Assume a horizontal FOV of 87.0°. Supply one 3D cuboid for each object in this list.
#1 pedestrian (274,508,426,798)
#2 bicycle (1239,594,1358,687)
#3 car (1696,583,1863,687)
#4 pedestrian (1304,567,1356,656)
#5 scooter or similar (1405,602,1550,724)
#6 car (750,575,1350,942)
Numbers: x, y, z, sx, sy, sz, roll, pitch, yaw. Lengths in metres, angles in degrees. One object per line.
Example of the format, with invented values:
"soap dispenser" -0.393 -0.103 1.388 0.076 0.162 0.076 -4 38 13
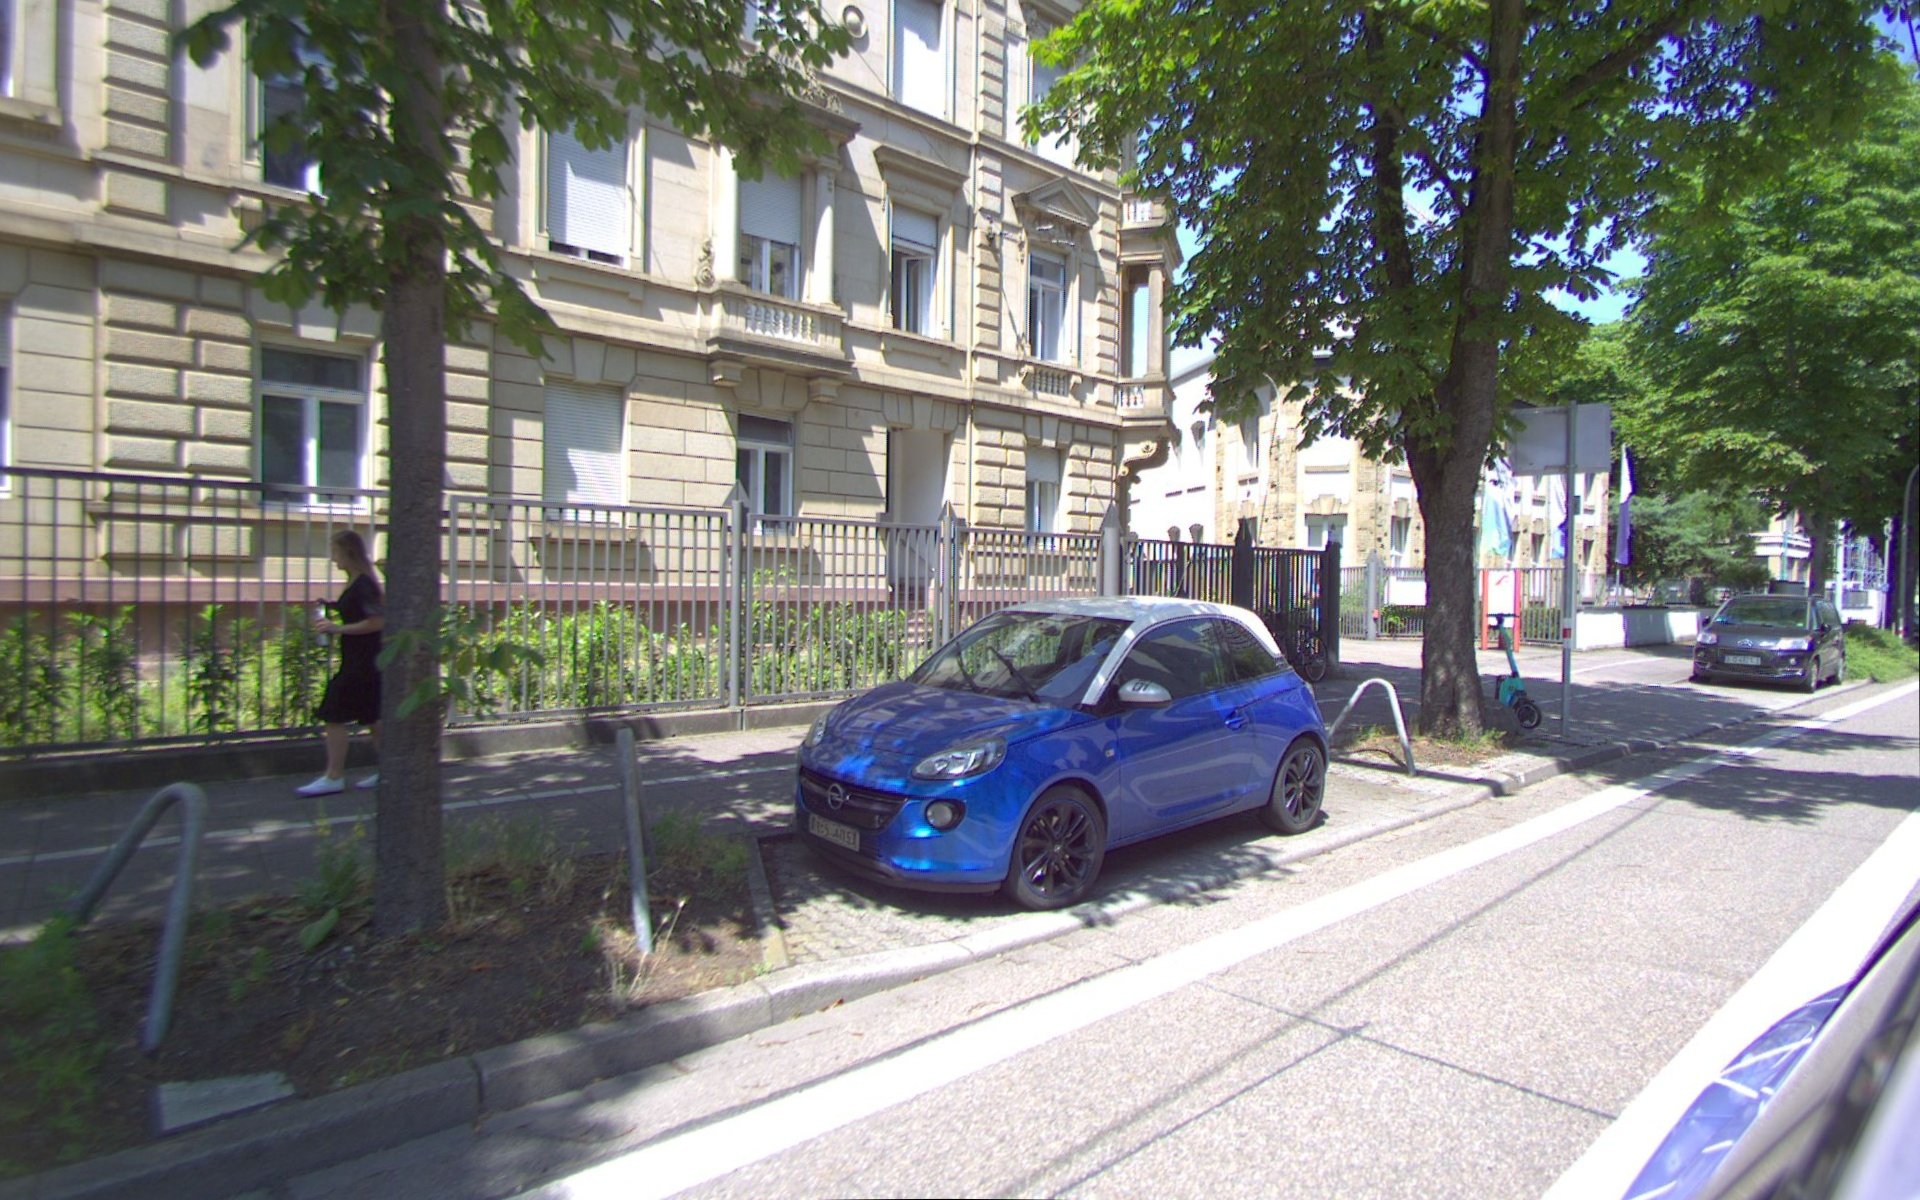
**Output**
"pedestrian" -3.862 0.302 6.414 0.742 1.714 0.547 0 1 -41
"bicycle" 4.952 0.548 14.719 2.082 1.240 0.688 -1 1 -41
"car" 14.778 0.582 18.177 4.043 1.616 1.646 1 2 -42
"pedestrian" 7.008 0.203 19.175 0.650 1.657 0.672 0 0 -23
"scooter or similar" 5.605 0.647 10.997 1.370 1.247 0.371 0 0 37
"car" 0.699 0.635 6.088 3.521 1.515 1.613 -2 3 -42
